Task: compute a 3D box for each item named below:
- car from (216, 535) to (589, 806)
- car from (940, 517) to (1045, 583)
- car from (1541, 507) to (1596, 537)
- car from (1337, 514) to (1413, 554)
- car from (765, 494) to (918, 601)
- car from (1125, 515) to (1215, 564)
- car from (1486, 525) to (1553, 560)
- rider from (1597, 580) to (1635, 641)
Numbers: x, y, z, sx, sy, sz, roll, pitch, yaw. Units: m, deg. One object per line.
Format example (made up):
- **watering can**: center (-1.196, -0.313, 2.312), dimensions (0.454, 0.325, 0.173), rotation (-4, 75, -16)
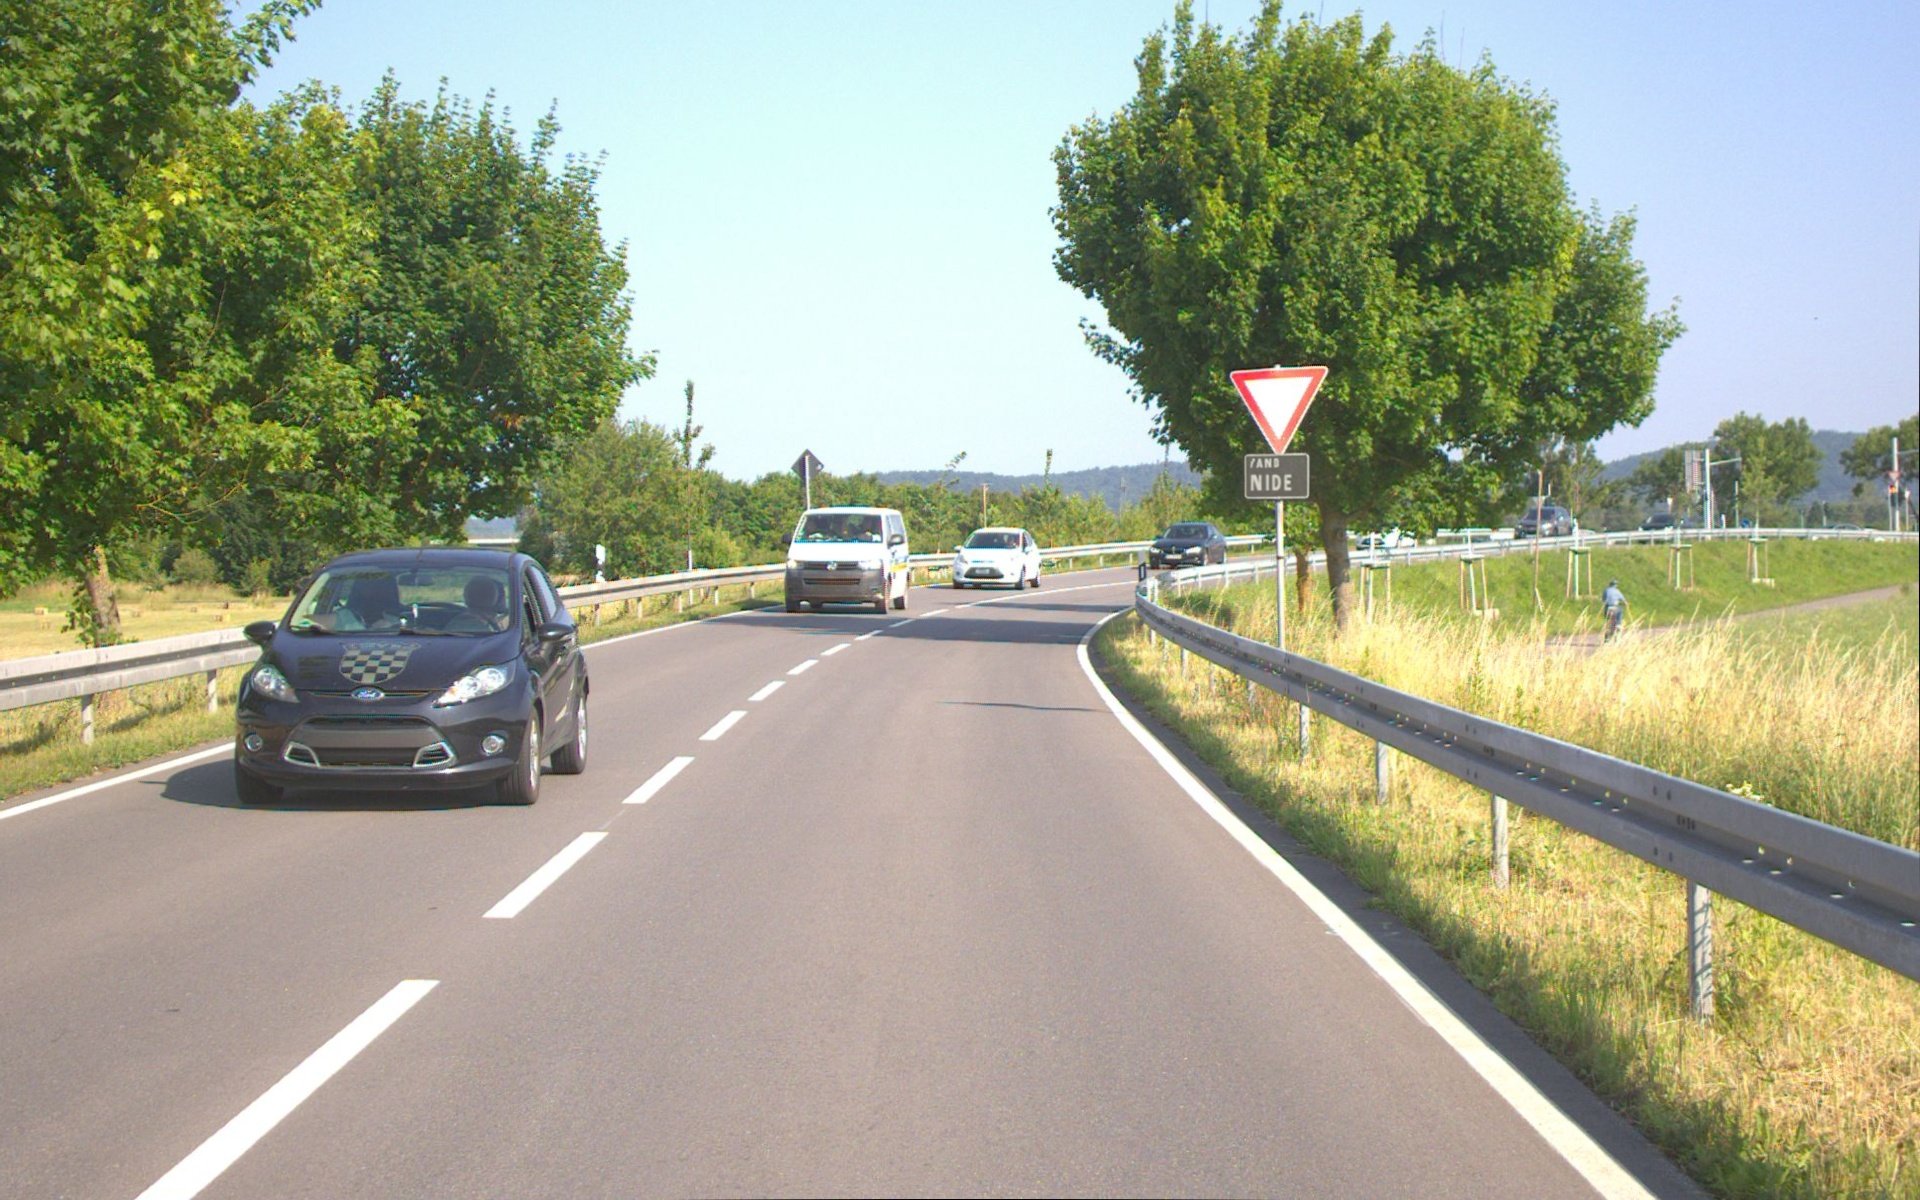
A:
- **car**: center (-3.231, 0.351, 20.552), dimensions (1.644, 1.466, 3.807), rotation (0, 1, -1)
- **car**: center (0.821, -1.225, 83.597), dimensions (1.903, 1.527, 4.590), rotation (1, 1, 9)
- **car**: center (30.862, -3.945, 174.296), dimensions (1.995, 1.527, 4.587), rotation (1, 1, 20)
- **car**: center (16.394, -2.602, 135.656), dimensions (1.995, 1.527, 4.587), rotation (1, 1, 20)
- **car**: center (-2.148, -0.989, 63.629), dimensions (1.994, 1.878, 4.590), rotation (1, 1, 9)
- **car**: center (6.681, -1.926, 109.035), dimensions (1.995, 1.527, 4.588), rotation (1, 1, 15)
- **car**: center (25.242, -2.579, 155.045), dimensions (1.996, 1.527, 4.586), rotation (1, 1, 22)
- **rider**: center (16.814, 0.266, 88.101), dimensions (0.610, 1.522, 1.824), rotation (1, 0, 22)
